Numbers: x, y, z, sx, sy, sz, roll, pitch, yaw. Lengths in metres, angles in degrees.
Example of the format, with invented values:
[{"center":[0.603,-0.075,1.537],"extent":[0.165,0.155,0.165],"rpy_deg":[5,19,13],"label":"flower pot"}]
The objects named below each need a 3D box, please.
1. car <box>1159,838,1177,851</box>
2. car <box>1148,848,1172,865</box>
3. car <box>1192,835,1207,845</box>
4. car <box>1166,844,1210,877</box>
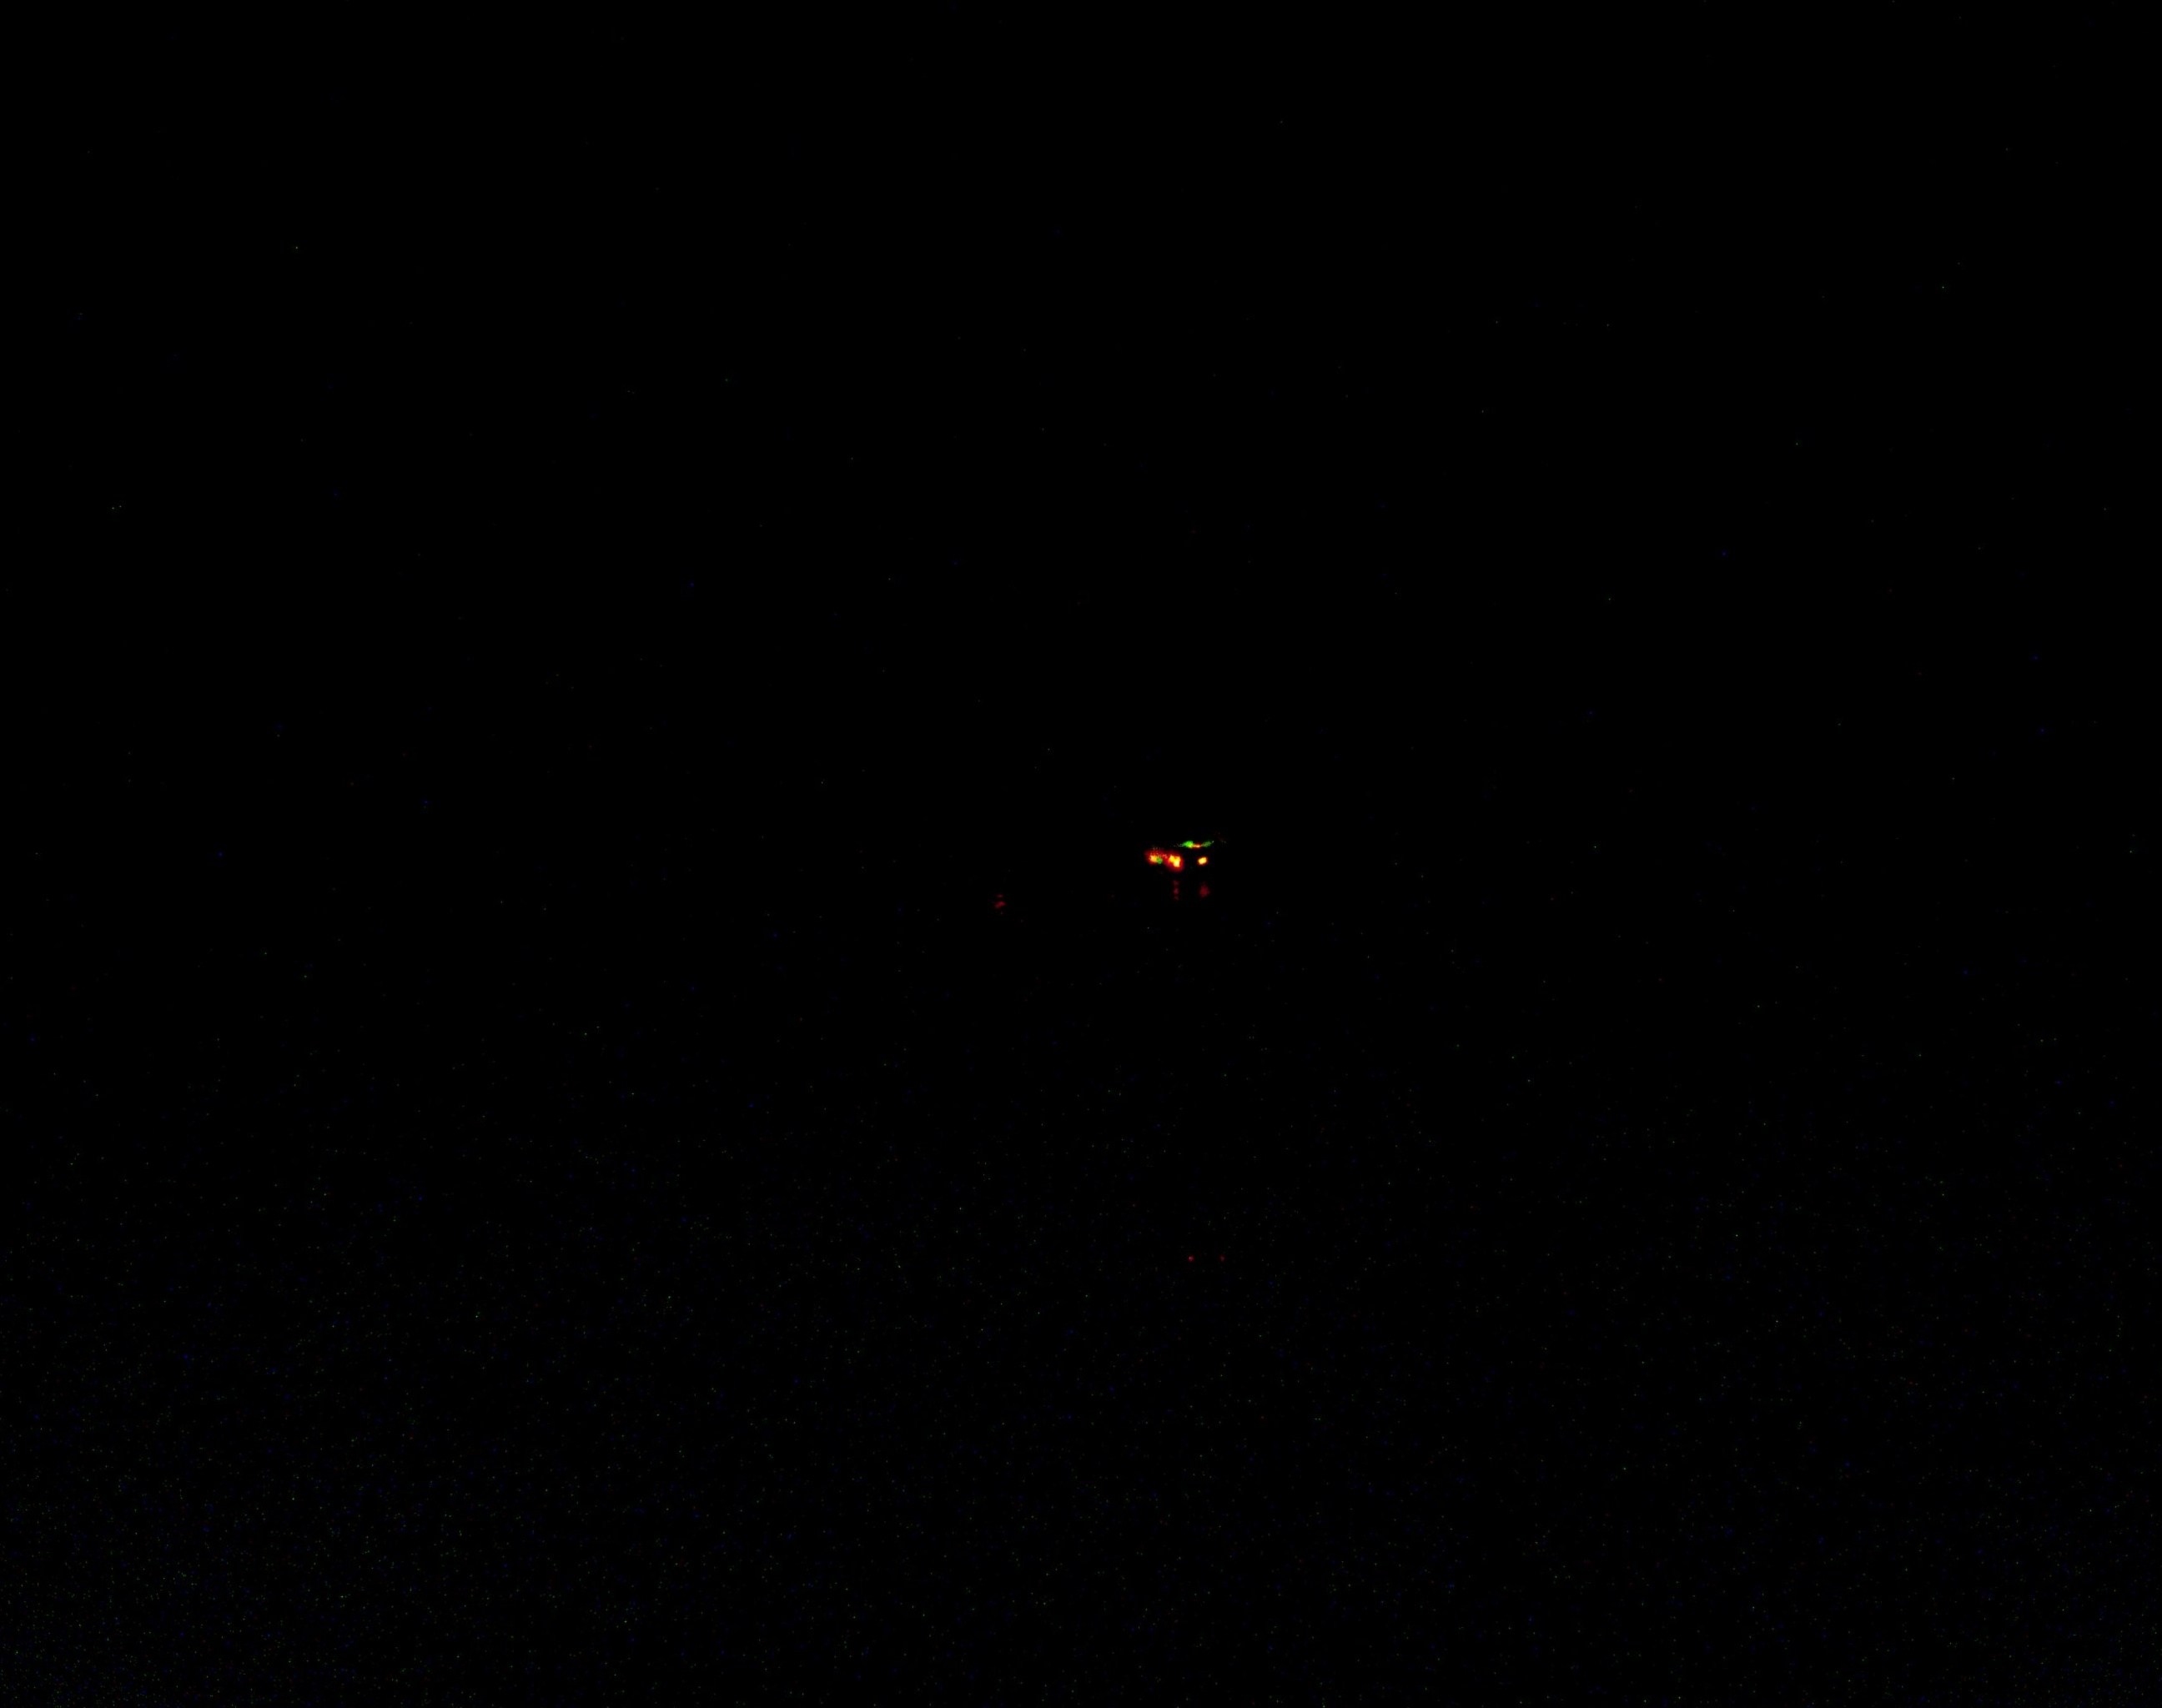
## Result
[{"center":[9.878,-1.098,85.825],"extent":[1.774,1.381,4.234],"rpy_deg":[-2,2,9],"label":"car"},{"center":[7.061,0.198,68.025],"extent":[1.776,1.381,4.035],"rpy_deg":[-2,1,1],"label":"car"},{"center":[20.463,-2.393,130.909],"extent":[1.773,1.475,4.385],"rpy_deg":[-2,2,18],"label":"car"},{"center":[6.309,0.347,45.262],"extent":[1.864,1.737,4.961],"rpy_deg":[-2,1,0],"label":"car"}]
